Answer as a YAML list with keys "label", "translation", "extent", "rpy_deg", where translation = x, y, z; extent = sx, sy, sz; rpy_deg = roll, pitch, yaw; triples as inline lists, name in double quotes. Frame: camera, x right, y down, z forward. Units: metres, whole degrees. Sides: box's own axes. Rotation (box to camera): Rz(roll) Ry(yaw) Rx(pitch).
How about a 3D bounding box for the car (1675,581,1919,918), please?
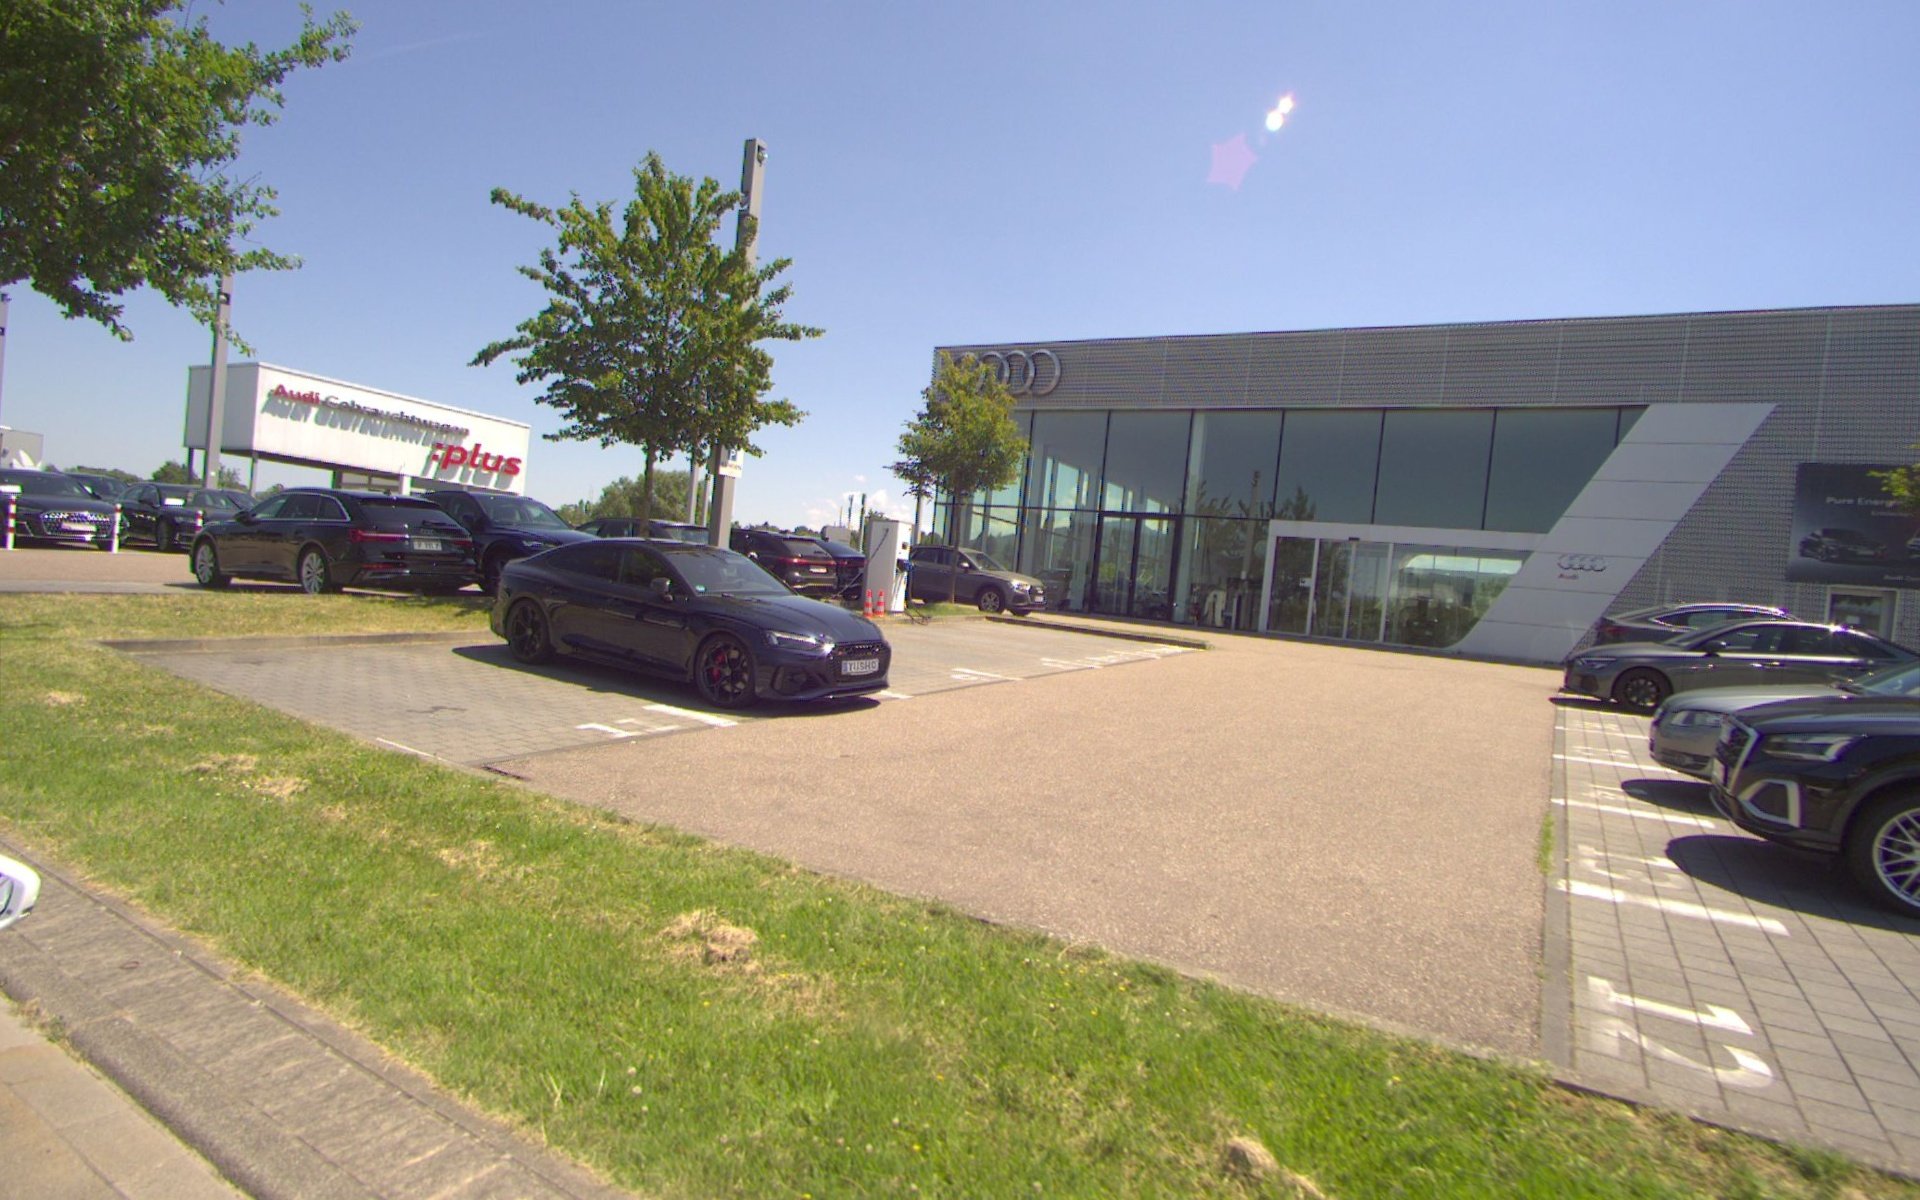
- label: "car"
  translation: [6.344, 0.880, 5.056]
  extent: [4.156, 1.594, 1.887]
  rpy_deg: [6, 4, 30]

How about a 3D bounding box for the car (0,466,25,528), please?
- label: "car"
  translation: [-28.991, -3.071, 27.558]
  extent: [1.996, 1.715, 4.531]
  rpy_deg: [6, 2, 29]

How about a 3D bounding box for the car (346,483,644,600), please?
- label: "car"
  translation: [-7.661, -0.980, 16.437]
  extent: [4.903, 1.619, 1.961]
  rpy_deg: [4, 1, 31]

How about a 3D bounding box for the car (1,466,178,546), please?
- label: "car"
  translation: [-22.060, -2.380, 25.457]
  extent: [4.699, 1.611, 2.025]
  rpy_deg: [6, 2, 31]

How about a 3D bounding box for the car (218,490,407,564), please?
- label: "car"
  translation: [-16.331, -1.843, 25.285]
  extent: [4.993, 1.477, 2.024]
  rpy_deg: [6, 4, 31]

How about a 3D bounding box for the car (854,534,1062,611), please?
- label: "car"
  translation: [-0.099, -0.715, 25.493]
  extent: [4.903, 1.642, 1.961]
  rpy_deg: [4, 1, 31]

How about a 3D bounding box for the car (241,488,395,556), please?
- label: "car"
  translation: [-19.443, -2.368, 30.431]
  extent: [4.699, 1.611, 2.025]
  rpy_deg: [6, 2, 31]

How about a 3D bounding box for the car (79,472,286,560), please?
- label: "car"
  translation: [-17.499, -1.907, 22.550]
  extent: [5.384, 1.595, 1.895]
  rpy_deg: [6, 4, 31]

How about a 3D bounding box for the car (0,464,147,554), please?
- label: "car"
  translation: [-18.792, -1.918, 20.381]
  extent: [5.152, 1.536, 2.024]
  rpy_deg: [6, 4, 31]

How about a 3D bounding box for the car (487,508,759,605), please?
- label: "car"
  translation: [-6.221, -0.815, 18.400]
  extent: [4.903, 1.476, 1.961]
  rpy_deg: [4, 1, 31]

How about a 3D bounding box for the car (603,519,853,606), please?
- label: "car"
  translation: [-4.765, -0.781, 20.424]
  extent: [4.903, 1.476, 1.961]
  rpy_deg: [4, 1, 31]

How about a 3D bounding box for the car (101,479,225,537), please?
- label: "car"
  translation: [-28.712, -3.329, 36.213]
  extent: [4.730, 1.702, 2.024]
  rpy_deg: [6, 2, 32]

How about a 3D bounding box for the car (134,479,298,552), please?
- label: "car"
  translation: [-20.792, -2.378, 28.080]
  extent: [4.699, 1.611, 2.025]
  rpy_deg: [6, 2, 31]

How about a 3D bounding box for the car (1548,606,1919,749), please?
- label: "car"
  translation: [10.931, 0.993, 14.199]
  extent: [4.391, 1.386, 1.961]
  rpy_deg: [6, 4, 30]

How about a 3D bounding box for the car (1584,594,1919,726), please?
- label: "car"
  translation: [13.369, 0.899, 17.258]
  extent: [4.355, 1.614, 1.959]
  rpy_deg: [6, 4, 33]

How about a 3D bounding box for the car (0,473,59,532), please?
- label: "car"
  translation: [-26.822, -2.737, 26.246]
  extent: [1.996, 1.477, 4.531]
  rpy_deg: [6, 2, 29]

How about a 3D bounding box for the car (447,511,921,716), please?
- label: "car"
  translation: [-2.912, 0.005, 10.282]
  extent: [4.641, 1.386, 1.960]
  rpy_deg: [8, 5, 31]

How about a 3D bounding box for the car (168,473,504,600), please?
- label: "car"
  translation: [-8.831, -0.908, 14.111]
  extent: [4.903, 1.476, 1.961]
  rpy_deg: [4, 1, 31]

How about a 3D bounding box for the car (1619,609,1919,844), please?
- label: "car"
  translation: [7.375, 0.972, 7.237]
  extent: [4.156, 1.386, 1.961]
  rpy_deg: [6, 4, 30]

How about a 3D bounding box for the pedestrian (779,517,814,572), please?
- label: "pedestrian"
  translation: [-5.571, -1.893, 34.321]
  extent: [0.733, 1.800, 0.770]
  rpy_deg: [6, 3, 36]
